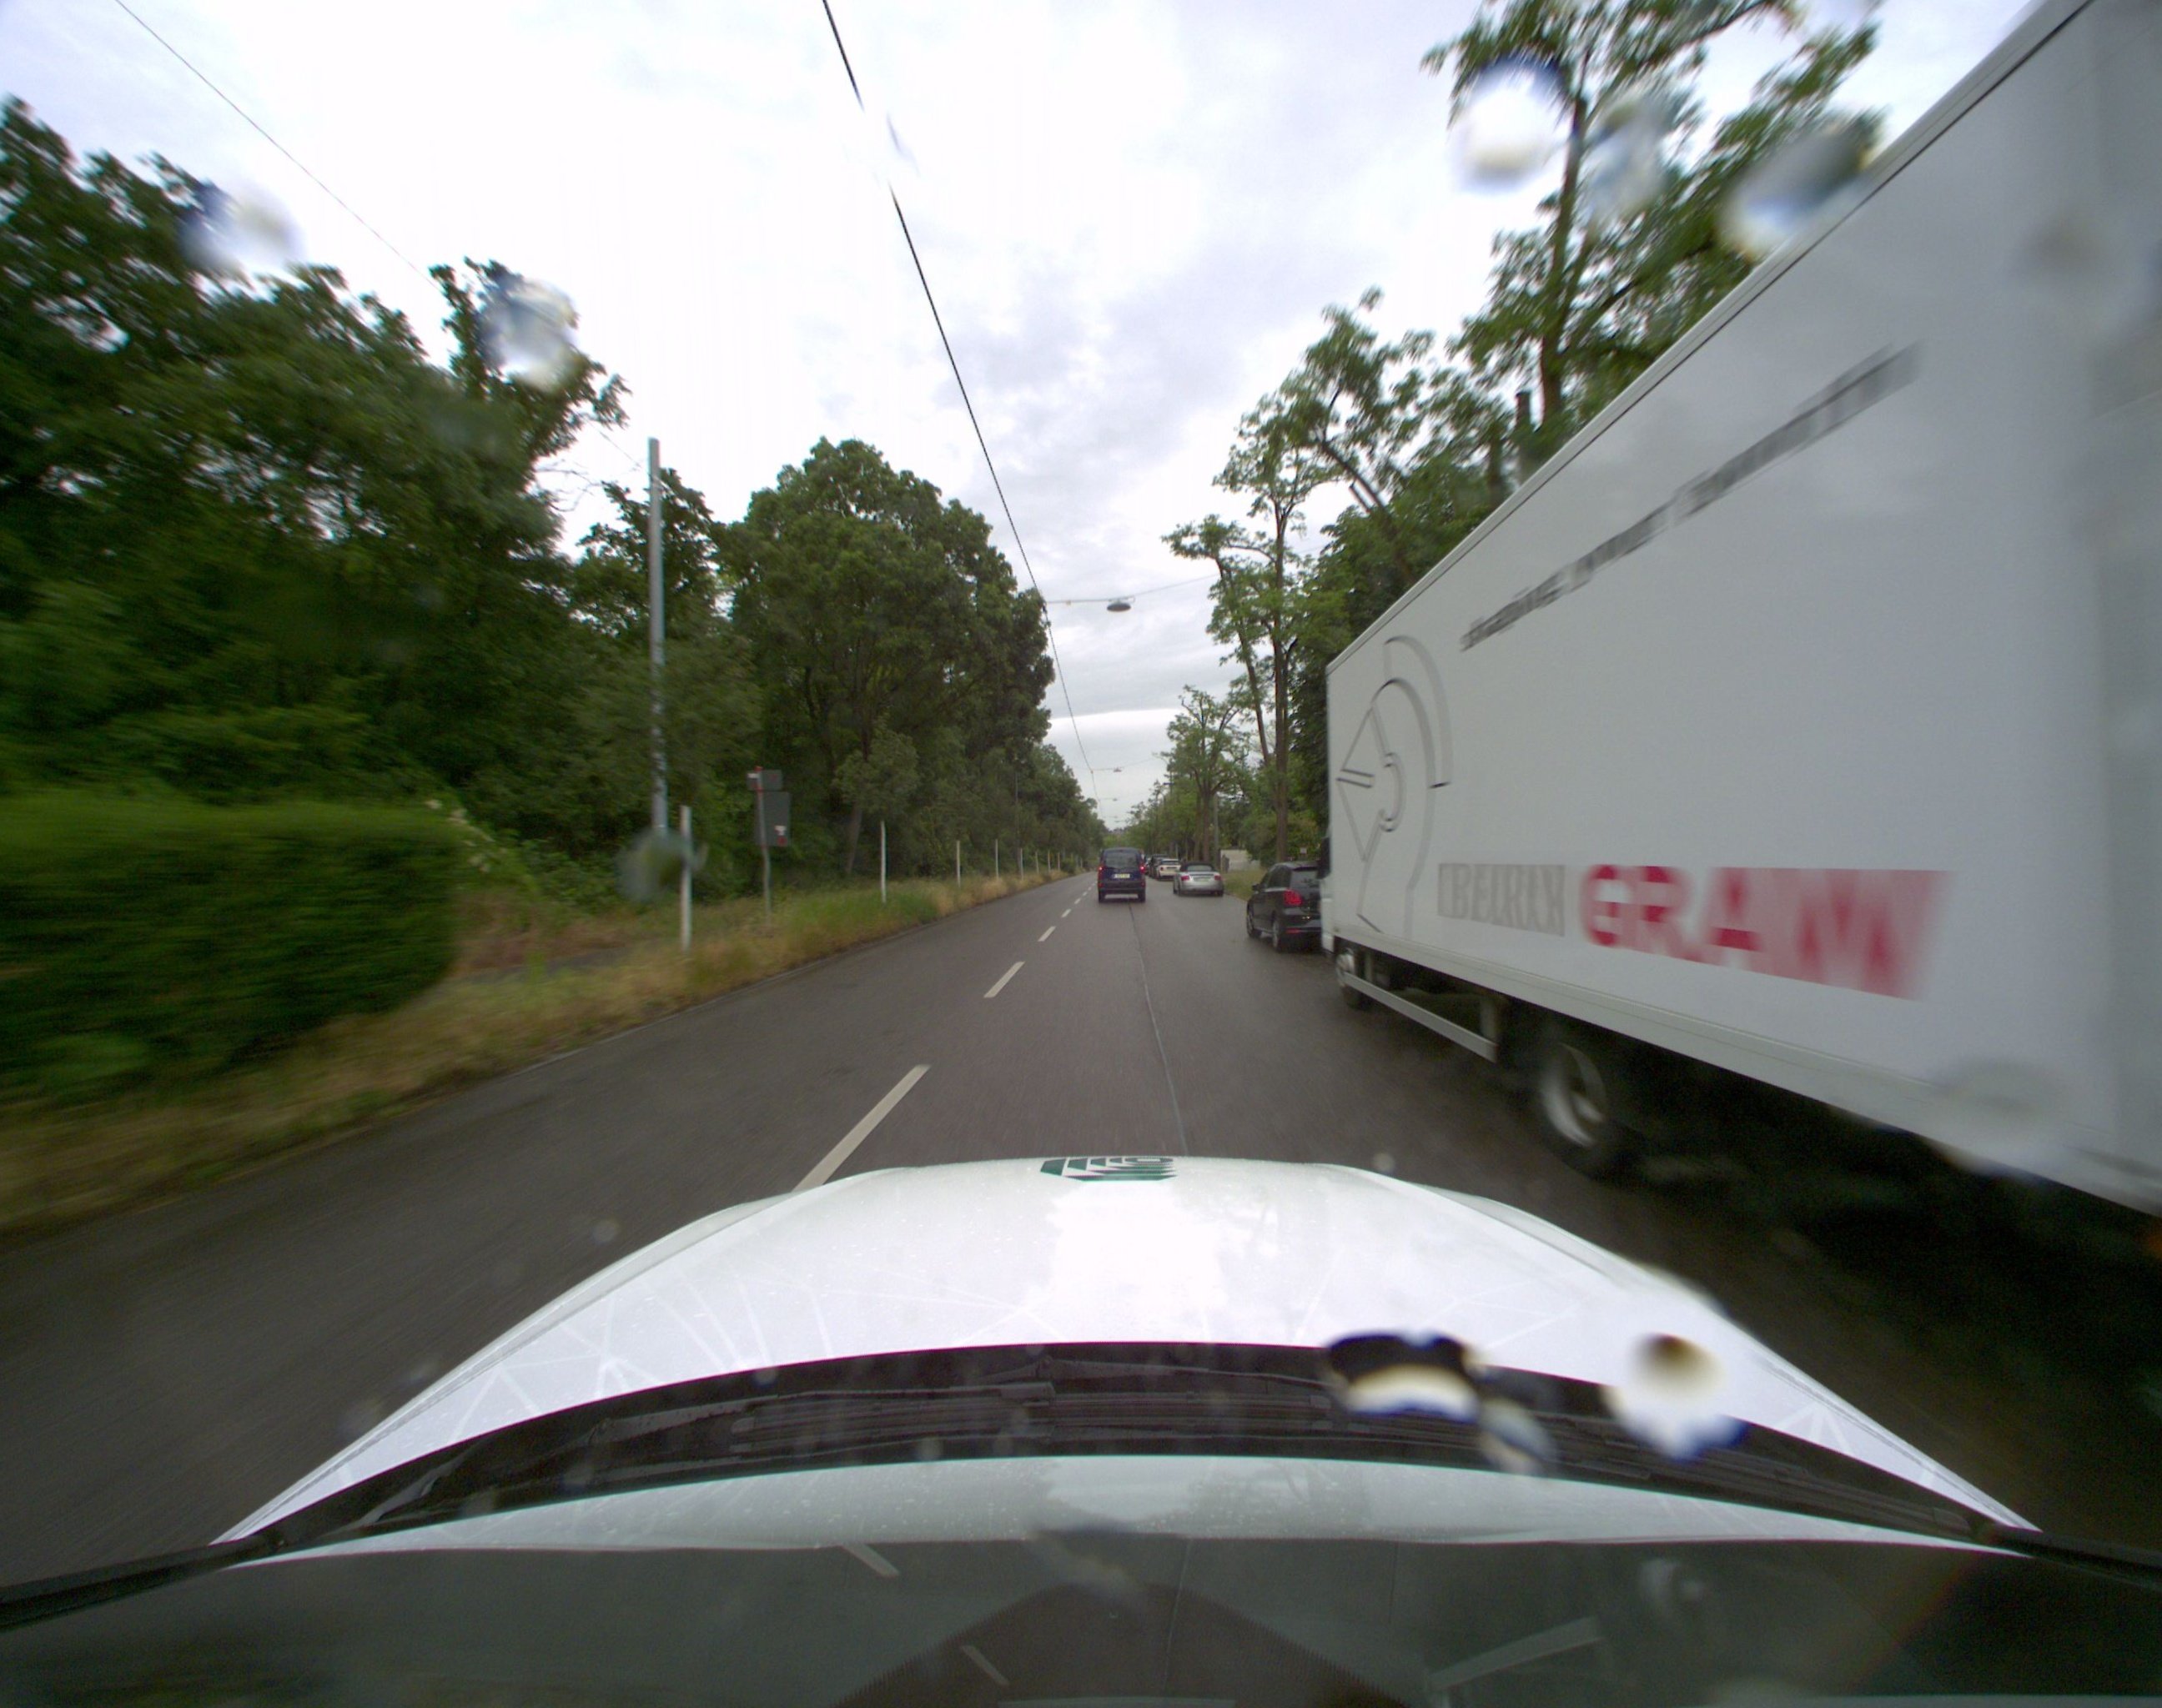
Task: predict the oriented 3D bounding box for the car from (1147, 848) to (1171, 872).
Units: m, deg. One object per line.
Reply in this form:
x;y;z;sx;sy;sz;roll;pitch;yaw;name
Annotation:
6.330;0.473;66.146;1.723;1.847;4.233;0;0;3;car

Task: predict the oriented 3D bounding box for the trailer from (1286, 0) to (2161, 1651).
3.454;-0.323;4.857;2.723;3.508;8.252;0;0;2;trailer

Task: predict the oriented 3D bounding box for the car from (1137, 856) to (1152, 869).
8.860;1.147;113.271;1.808;1.813;4.283;1;0;1;car

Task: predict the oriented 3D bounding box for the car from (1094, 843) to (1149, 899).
1.366;0.552;28.525;1.761;1.830;3.541;0;0;0;car

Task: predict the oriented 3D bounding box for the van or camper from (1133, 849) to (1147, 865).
9.653;0.481;133.948;2.070;2.650;5.349;0;0;3;van or camper

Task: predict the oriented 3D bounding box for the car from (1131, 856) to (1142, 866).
8.645;1.120;126.181;1.618;1.464;3.814;0;0;6;car

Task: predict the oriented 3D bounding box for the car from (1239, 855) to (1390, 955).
3.852;0.753;14.080;1.634;1.464;4.003;0;0;3;car

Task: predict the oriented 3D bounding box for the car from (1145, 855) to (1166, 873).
6.958;0.933;76.521;1.797;1.613;4.288;0;0;2;car

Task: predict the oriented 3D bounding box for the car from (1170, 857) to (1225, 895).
4.663;0.847;33.109;1.775;1.395;4.001;0;0;1;car

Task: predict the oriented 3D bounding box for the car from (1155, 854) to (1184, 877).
5.922;0.735;54.706;1.731;1.464;3.727;0;0;3;car

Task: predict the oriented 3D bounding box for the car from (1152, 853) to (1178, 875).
6.157;0.678;59.959;1.672;1.555;4.078;0;0;3;car

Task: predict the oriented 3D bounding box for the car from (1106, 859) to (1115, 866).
7.203;2.096;197.962;1.852;1.480;4.159;-2;-1;3;car
